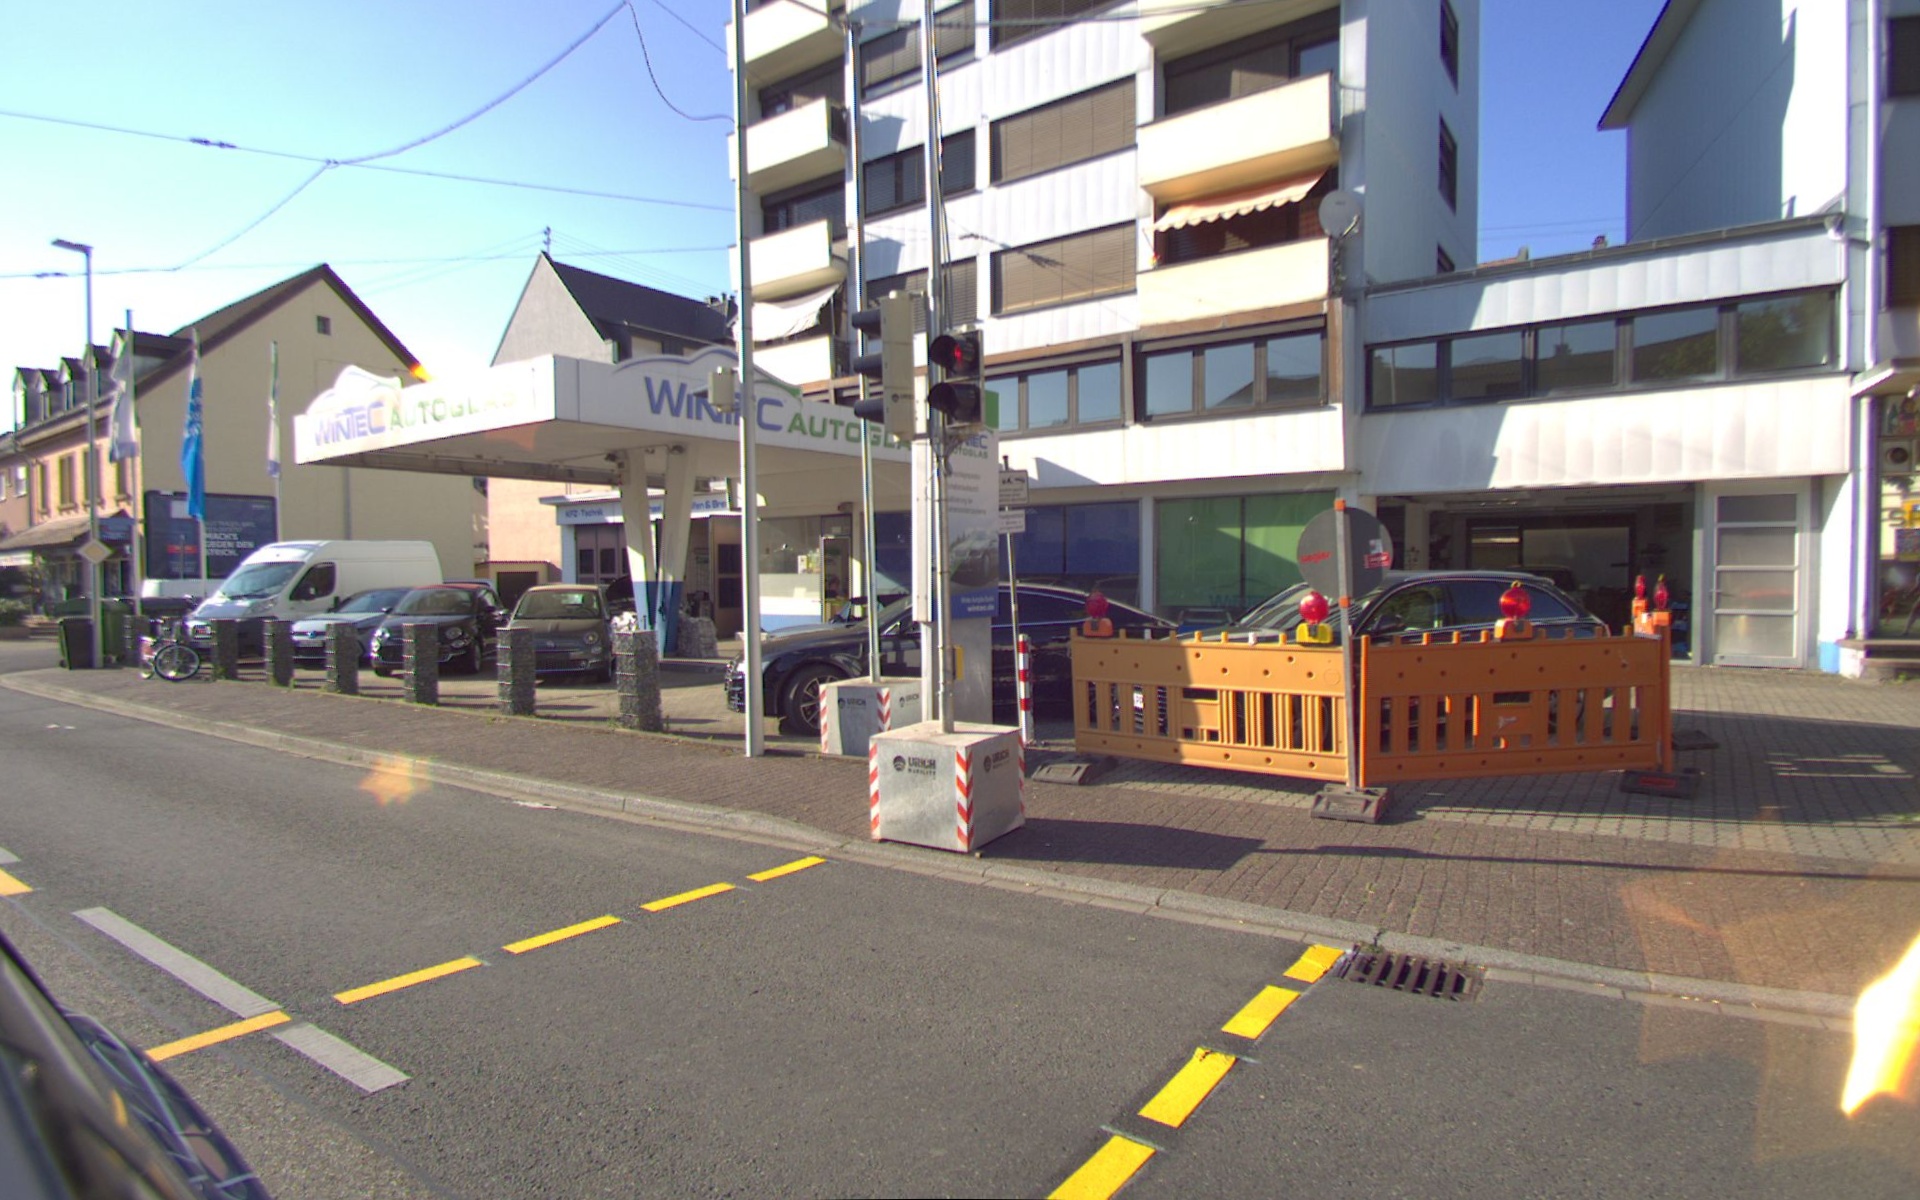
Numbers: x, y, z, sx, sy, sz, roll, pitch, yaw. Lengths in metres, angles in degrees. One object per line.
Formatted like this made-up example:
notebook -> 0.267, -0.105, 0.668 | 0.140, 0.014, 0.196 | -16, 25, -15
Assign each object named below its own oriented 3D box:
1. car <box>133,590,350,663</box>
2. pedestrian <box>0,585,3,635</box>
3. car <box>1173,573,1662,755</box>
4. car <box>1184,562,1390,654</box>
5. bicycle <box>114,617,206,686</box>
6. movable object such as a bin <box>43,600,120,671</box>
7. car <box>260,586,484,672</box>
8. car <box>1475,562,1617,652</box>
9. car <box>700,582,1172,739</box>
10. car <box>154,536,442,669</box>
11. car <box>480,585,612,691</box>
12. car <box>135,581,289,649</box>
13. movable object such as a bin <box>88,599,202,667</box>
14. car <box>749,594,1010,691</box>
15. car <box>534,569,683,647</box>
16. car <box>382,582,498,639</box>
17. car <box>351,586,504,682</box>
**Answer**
car -> -16.175, 0.540, 23.060 | 1.723, 1.488, 4.020 | 0, 1, 9
pedestrian -> -33.479, 0.344, 34.705 | 0.857, 1.726, 0.801 | 0, 0, 34
car -> 4.063, 0.504, 9.211 | 3.820, 1.449, 1.600 | 0, 0, -11
car -> 6.524, 0.139, 20.286 | 3.622, 1.686, 1.703 | 0, 1, 35
bicycle -> -13.688, 0.850, 17.304 | 1.787, 1.094, 0.717 | 0, 1, 34
movable object such as a bin -> -18.742, 0.741, 21.616 | 1.030, 1.475, 0.798 | 0, 0, -21
car -> -11.476, 0.494, 20.117 | 1.723, 1.508, 4.020 | 0, 1, 9
car -> 11.616, 0.071, 19.953 | 1.573, 1.620, 3.701 | 0, 2, 44
car -> -0.327, 0.550, 10.704 | 4.612, 1.449, 1.937 | 0, 0, -11
car -> -13.701, 0.005, 21.407 | 2.095, 2.472, 4.968 | 0, 1, 15
car -> -6.579, 0.521, 16.378 | 1.516, 1.497, 3.383 | -1, 1, -14
car -> -23.504, 0.428, 31.904 | 1.448, 2.029, 3.631 | 0, 1, 34
movable object such as a bin -> -18.705, 0.725, 23.277 | 1.037, 1.475, 1.789 | 0, 0, 12
car -> -1.292, 0.587, 15.456 | 3.894, 1.308, 1.508 | 0, 0, 34
car -> -9.551, 0.183, 27.358 | 4.251, 1.958, 1.722 | 0, 1, 37
car -> -19.353, 0.358, 37.780 | 1.448, 2.029, 3.631 | 0, 1, 34
car -> -9.304, 0.510, 17.940 | 1.568, 1.508, 3.445 | -1, 1, -13
